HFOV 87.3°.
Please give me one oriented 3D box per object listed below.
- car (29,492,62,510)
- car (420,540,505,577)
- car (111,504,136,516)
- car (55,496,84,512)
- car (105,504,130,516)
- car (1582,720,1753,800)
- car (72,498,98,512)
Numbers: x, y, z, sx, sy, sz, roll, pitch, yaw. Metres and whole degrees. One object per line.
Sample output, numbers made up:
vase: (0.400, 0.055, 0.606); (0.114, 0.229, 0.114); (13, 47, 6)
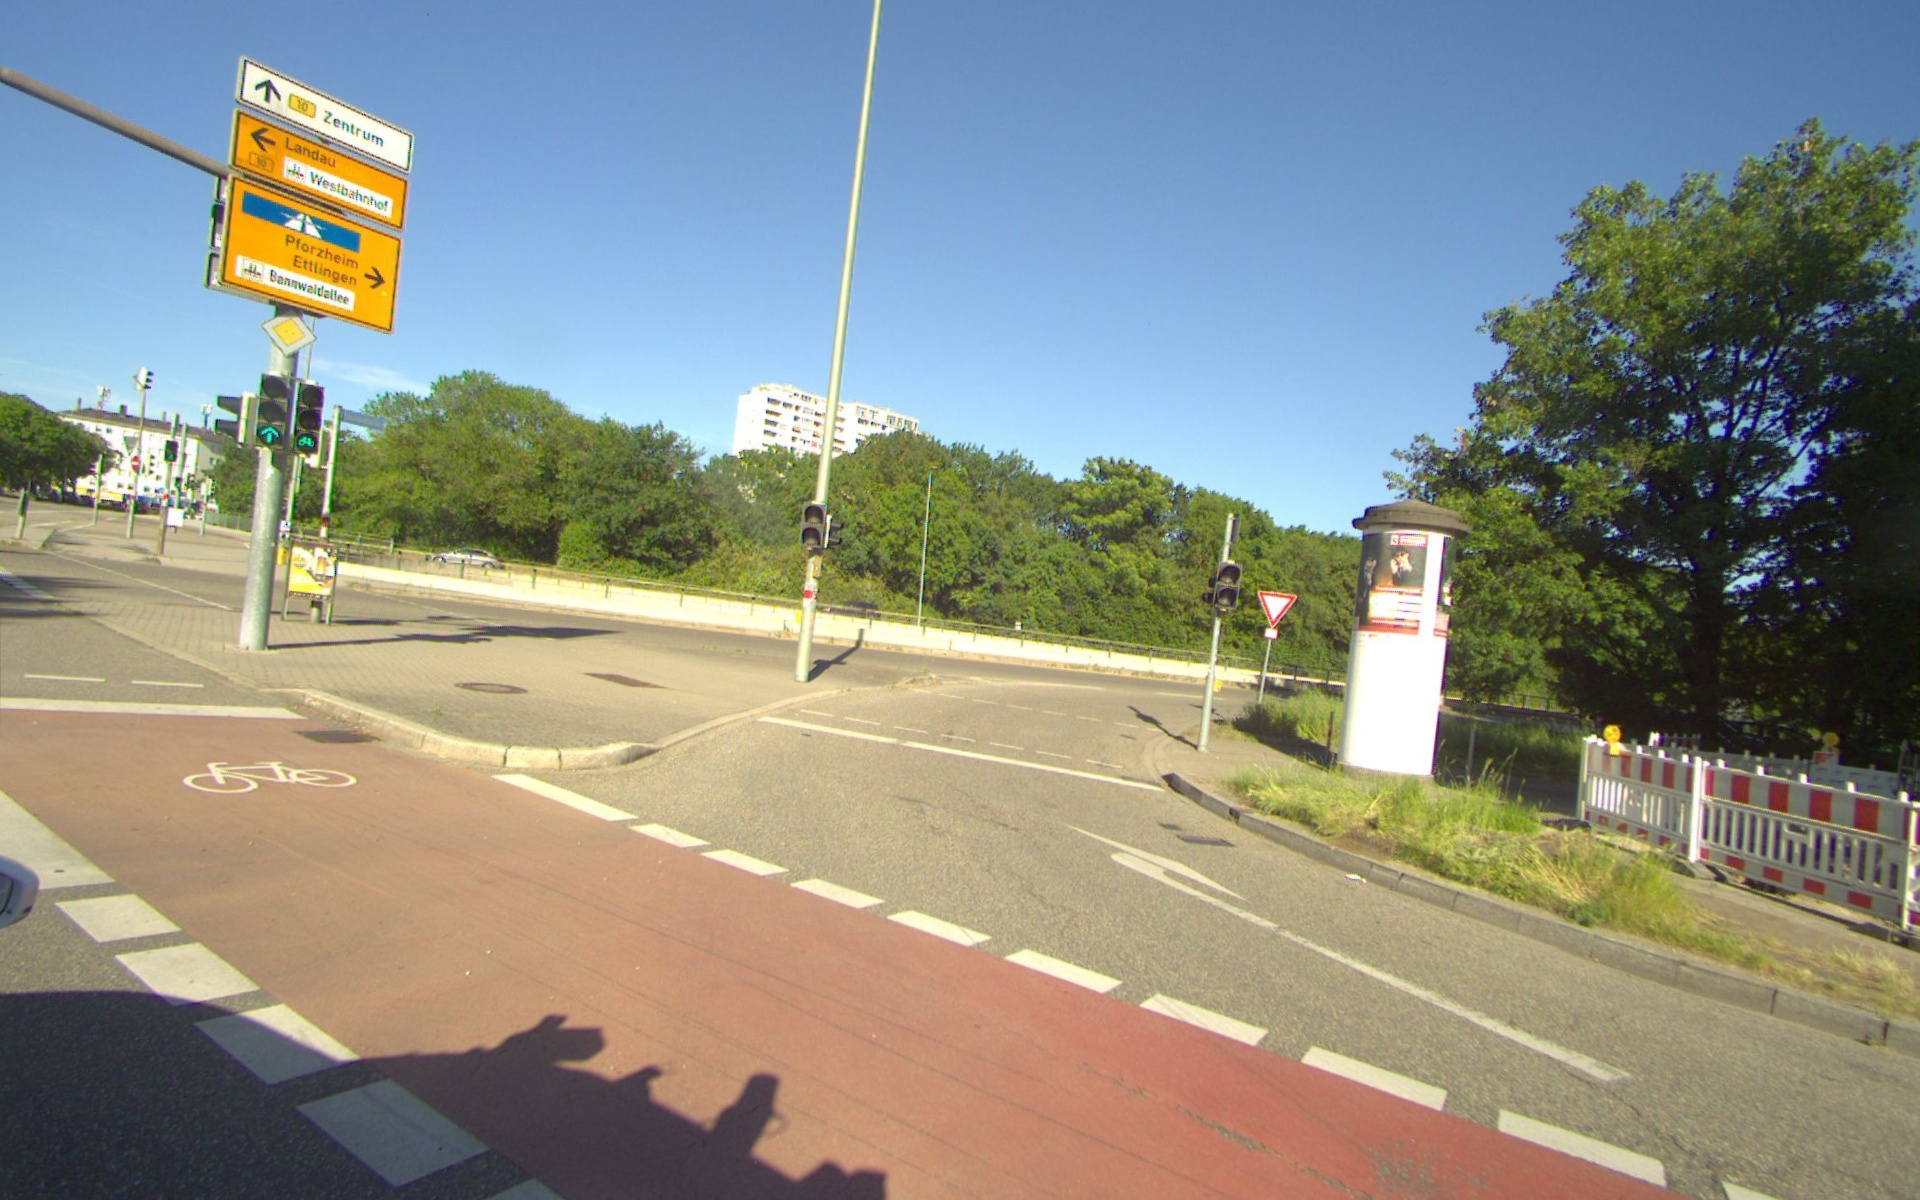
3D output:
car: (-94.839, -10.260, 104.330); (1.935, 1.547, 4.057); (7, -1, -36)
car: (-29.707, -2.462, 60.223); (4.181, 1.571, 1.854); (8, 0, -17)
car: (-145.025, -15.571, 174.476); (1.925, 1.547, 4.077); (7, -1, -21)
car: (-103.431, -11.159, 116.897); (1.934, 1.547, 4.058); (7, -1, -35)
car: (-134.706, -14.348, 160.866); (1.928, 1.547, 4.070); (7, -1, -27)
car: (21.013, 4.718, 30.094); (3.714, 1.581, 1.999); (7, 0, 25)
car: (-113.709, -12.342, 130.780); (1.934, 1.547, 4.059); (7, -1, -35)
